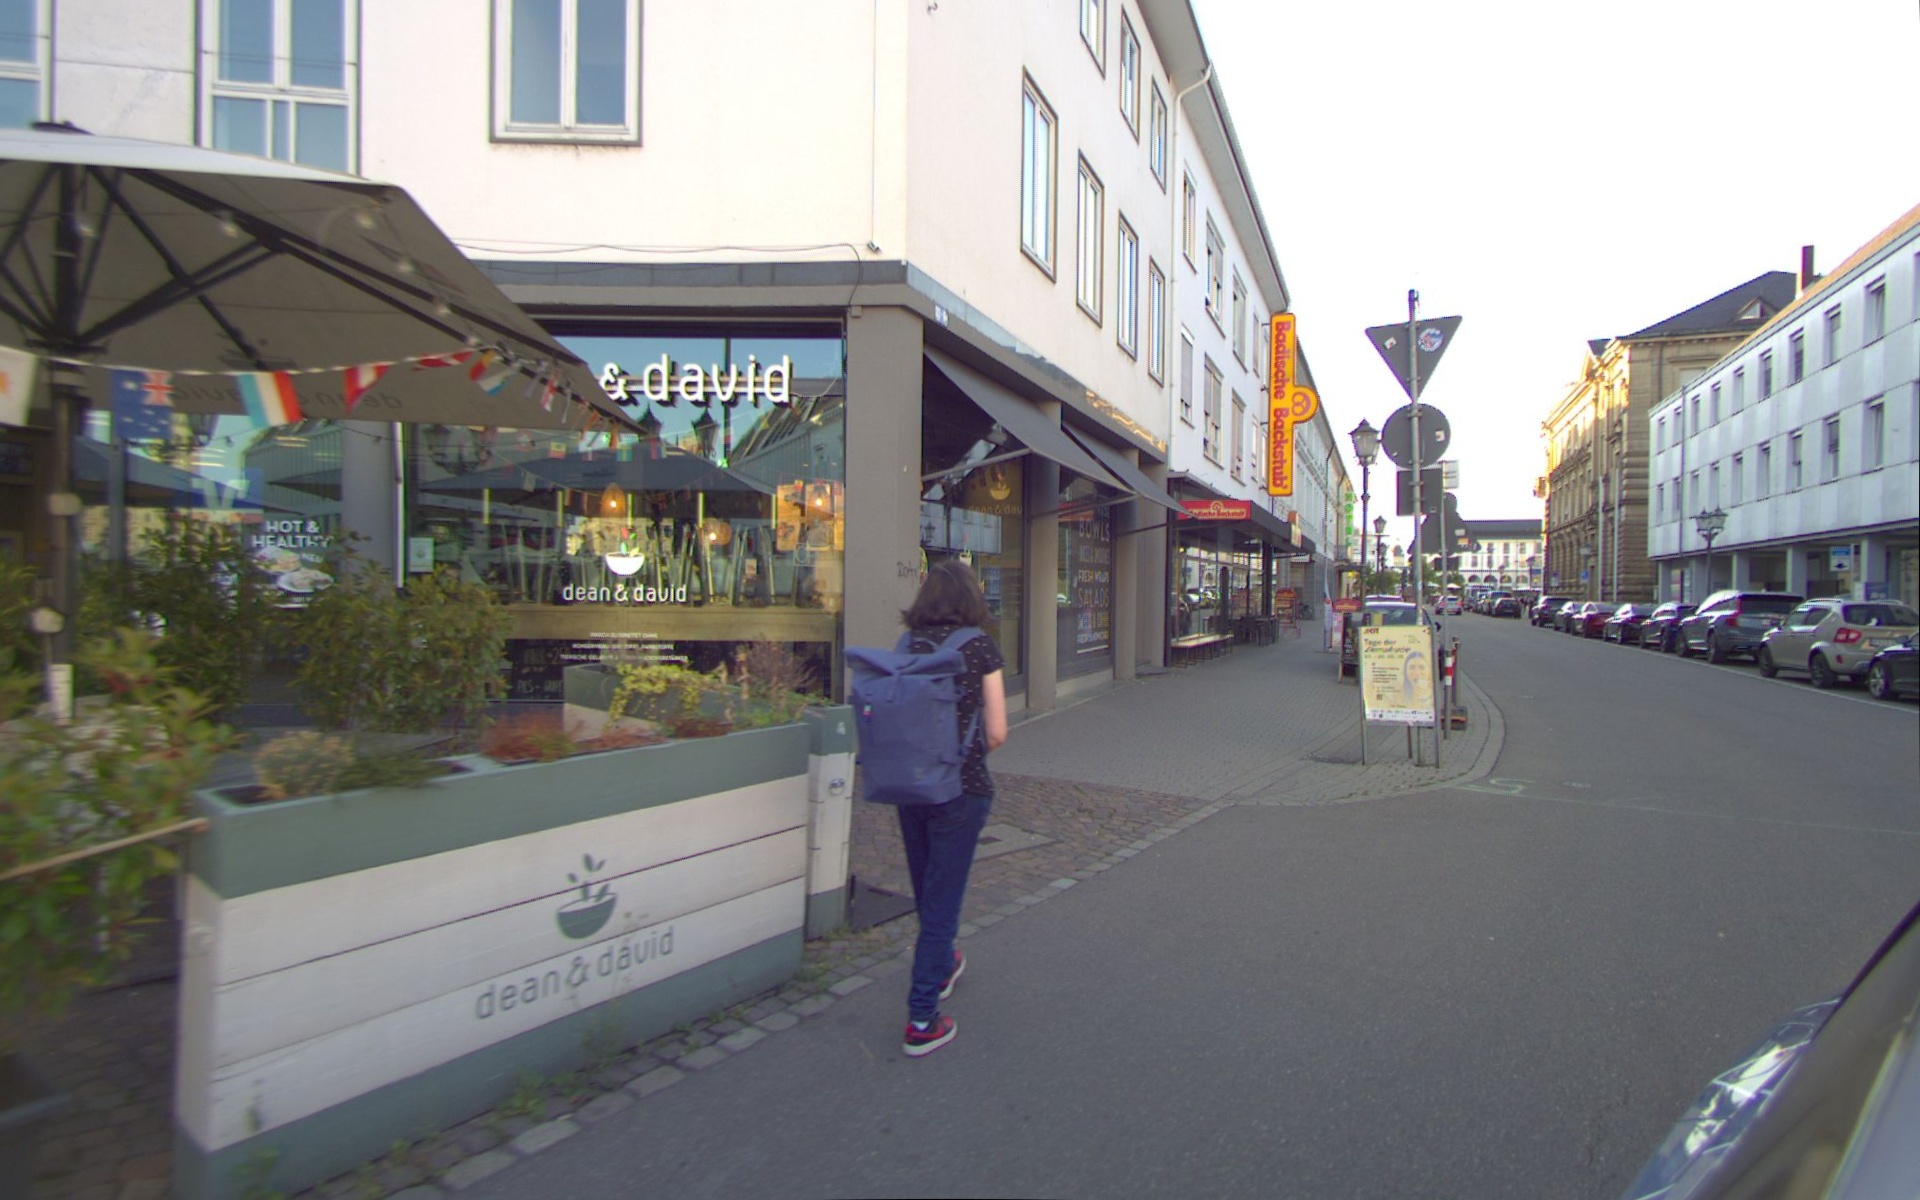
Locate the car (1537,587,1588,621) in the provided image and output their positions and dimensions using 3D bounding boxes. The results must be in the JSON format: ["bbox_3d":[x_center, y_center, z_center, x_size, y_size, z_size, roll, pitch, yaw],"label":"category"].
[{"bbox_3d":[30.711,0.191,51.687,1.772,1.635,4.130,1,1,25],"label":"car"}]

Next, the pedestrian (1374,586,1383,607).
[{"bbox_3d":[36.336,-0.278,87.849,0.616,1.812,0.904,1,0,28],"label":"pedestrian"}]

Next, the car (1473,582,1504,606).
[{"bbox_3d":[50.707,-0.570,97.179,1.976,2.198,5.170,1,1,21],"label":"car"}]

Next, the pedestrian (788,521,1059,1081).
[{"bbox_3d":[-0.104,0.590,3.474,0.685,1.668,0.690,1,0,24],"label":"pedestrian"}]

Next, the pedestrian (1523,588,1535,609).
[{"bbox_3d":[47.916,-0.120,85.220,0.708,1.752,0.888,-2,-1,25],"label":"pedestrian"}]

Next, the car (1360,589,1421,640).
[{"bbox_3d":[14.099,0.425,33.095,1.746,1.542,3.647,1,1,24],"label":"car"}]

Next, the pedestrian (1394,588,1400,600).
[{"bbox_3d":[55.992,-0.773,129.548,0.676,1.586,0.648,1,0,22],"label":"pedestrian"}]

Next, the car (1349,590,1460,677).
[{"bbox_3d":[8.698,0.569,20.088,1.786,1.482,4.089,1,1,21],"label":"car"}]

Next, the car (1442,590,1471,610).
[{"bbox_3d":[39.567,-0.030,80.702,1.750,1.439,3.969,2,1,23],"label":"car"}]

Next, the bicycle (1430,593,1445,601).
[{"bbox_3d":[64.741,-0.440,137.143,0.828,1.136,1.689,0,1,-31],"label":"bicycle"}]

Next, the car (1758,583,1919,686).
[{"bbox_3d":[16.760,0.554,18.803,1.978,1.682,3.970,2,2,23],"label":"car"}]

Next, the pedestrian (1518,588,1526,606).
[{"bbox_3d":[53.480,-0.278,96.331,0.603,1.752,0.697,1,0,25],"label":"pedestrian"}]

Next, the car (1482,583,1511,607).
[{"bbox_3d":[48.166,-0.474,90.945,1.979,2.113,5.164,1,1,24],"label":"car"}]

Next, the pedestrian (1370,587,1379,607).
[{"bbox_3d":[36.510,-0.298,89.132,0.708,1.752,0.865,1,0,26],"label":"pedestrian"}]

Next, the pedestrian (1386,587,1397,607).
[{"bbox_3d":[37.962,-0.269,89.078,0.744,1.752,0.872,1,0,30],"label":"pedestrian"}]

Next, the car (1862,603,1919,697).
[{"bbox_3d":[14.928,0.770,14.477,1.663,1.370,4.076,0,1,21],"label":"car"}]

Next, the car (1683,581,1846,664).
[{"bbox_3d":[19.328,0.456,24.558,1.979,1.749,4.478,2,1,24],"label":"car"}]

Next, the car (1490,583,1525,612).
[{"bbox_3d":[43.278,-0.240,80.104,1.978,2.103,4.952,1,2,23],"label":"car"}]

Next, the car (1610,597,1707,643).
[{"bbox_3d":[23.963,0.628,34.860,1.979,1.371,3.967,3,2,24],"label":"car"}]

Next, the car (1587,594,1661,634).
[{"bbox_3d":[25.890,0.509,39.580,1.772,1.426,4.054,1,1,25],"label":"car"}]

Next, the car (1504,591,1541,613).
[{"bbox_3d":[41.075,0.130,73.927,1.979,1.513,4.130,1,1,24],"label":"car"}]

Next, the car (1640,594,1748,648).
[{"bbox_3d":[21.498,0.558,29.805,1.660,1.417,3.969,2,1,23],"label":"car"}]

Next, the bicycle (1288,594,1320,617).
[{"bbox_3d":[19.139,0.286,56.346,1.643,1.268,0.436,1,0,22],"label":"bicycle"}]
